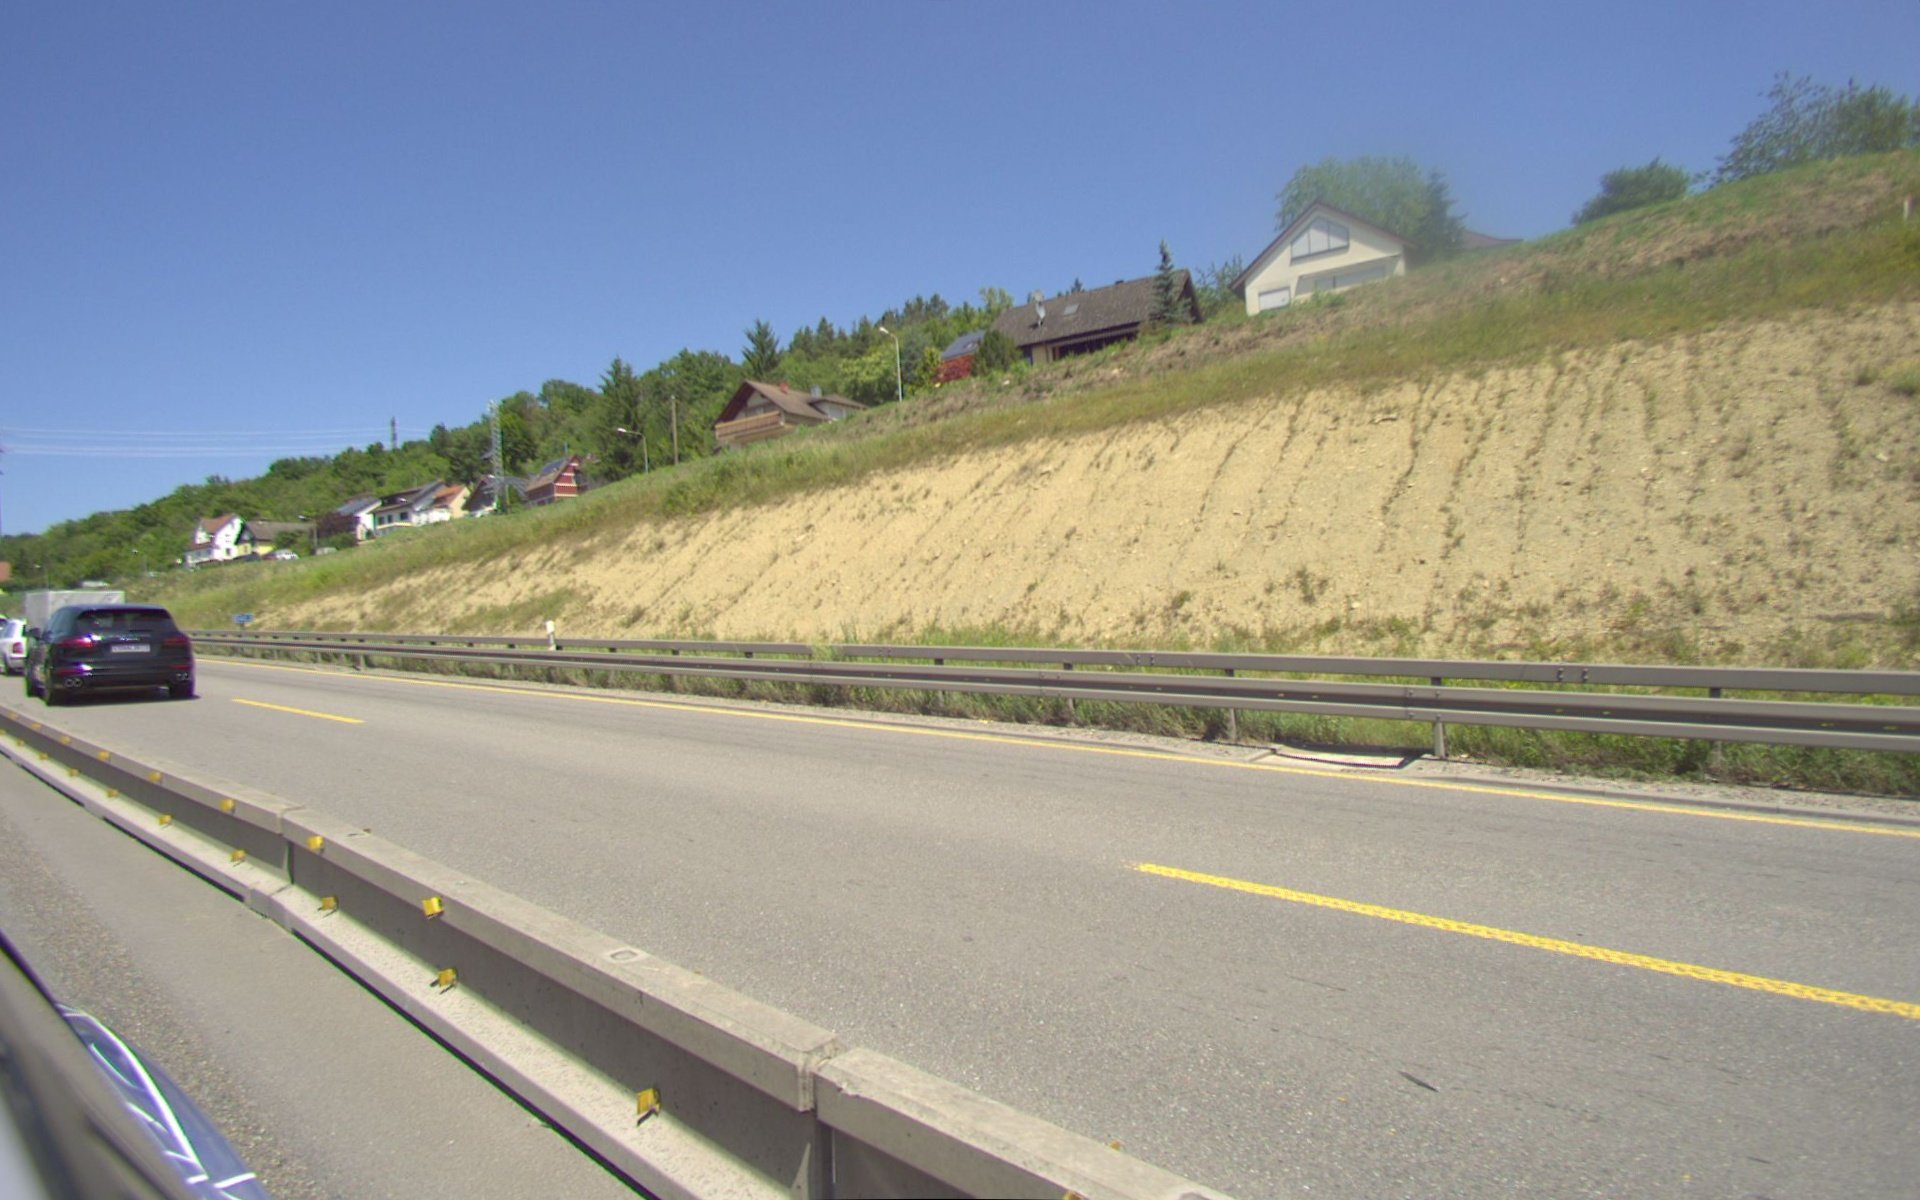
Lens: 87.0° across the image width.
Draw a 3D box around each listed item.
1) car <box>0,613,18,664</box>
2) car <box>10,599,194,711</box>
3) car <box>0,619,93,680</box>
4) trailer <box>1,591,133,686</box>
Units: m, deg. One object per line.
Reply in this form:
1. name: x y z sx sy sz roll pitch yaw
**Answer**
1. car: -31.962 1.249 32.665 4.287 1.604 1.797 -1 0 40
2. car: -15.225 0.883 17.864 4.560 1.721 1.871 -1 -1 42
3. car: -23.915 1.231 26.119 3.995 1.426 1.631 -1 -1 39
4. trailer: -21.040 0.869 23.804 4.265 2.041 1.631 -1 -1 39
